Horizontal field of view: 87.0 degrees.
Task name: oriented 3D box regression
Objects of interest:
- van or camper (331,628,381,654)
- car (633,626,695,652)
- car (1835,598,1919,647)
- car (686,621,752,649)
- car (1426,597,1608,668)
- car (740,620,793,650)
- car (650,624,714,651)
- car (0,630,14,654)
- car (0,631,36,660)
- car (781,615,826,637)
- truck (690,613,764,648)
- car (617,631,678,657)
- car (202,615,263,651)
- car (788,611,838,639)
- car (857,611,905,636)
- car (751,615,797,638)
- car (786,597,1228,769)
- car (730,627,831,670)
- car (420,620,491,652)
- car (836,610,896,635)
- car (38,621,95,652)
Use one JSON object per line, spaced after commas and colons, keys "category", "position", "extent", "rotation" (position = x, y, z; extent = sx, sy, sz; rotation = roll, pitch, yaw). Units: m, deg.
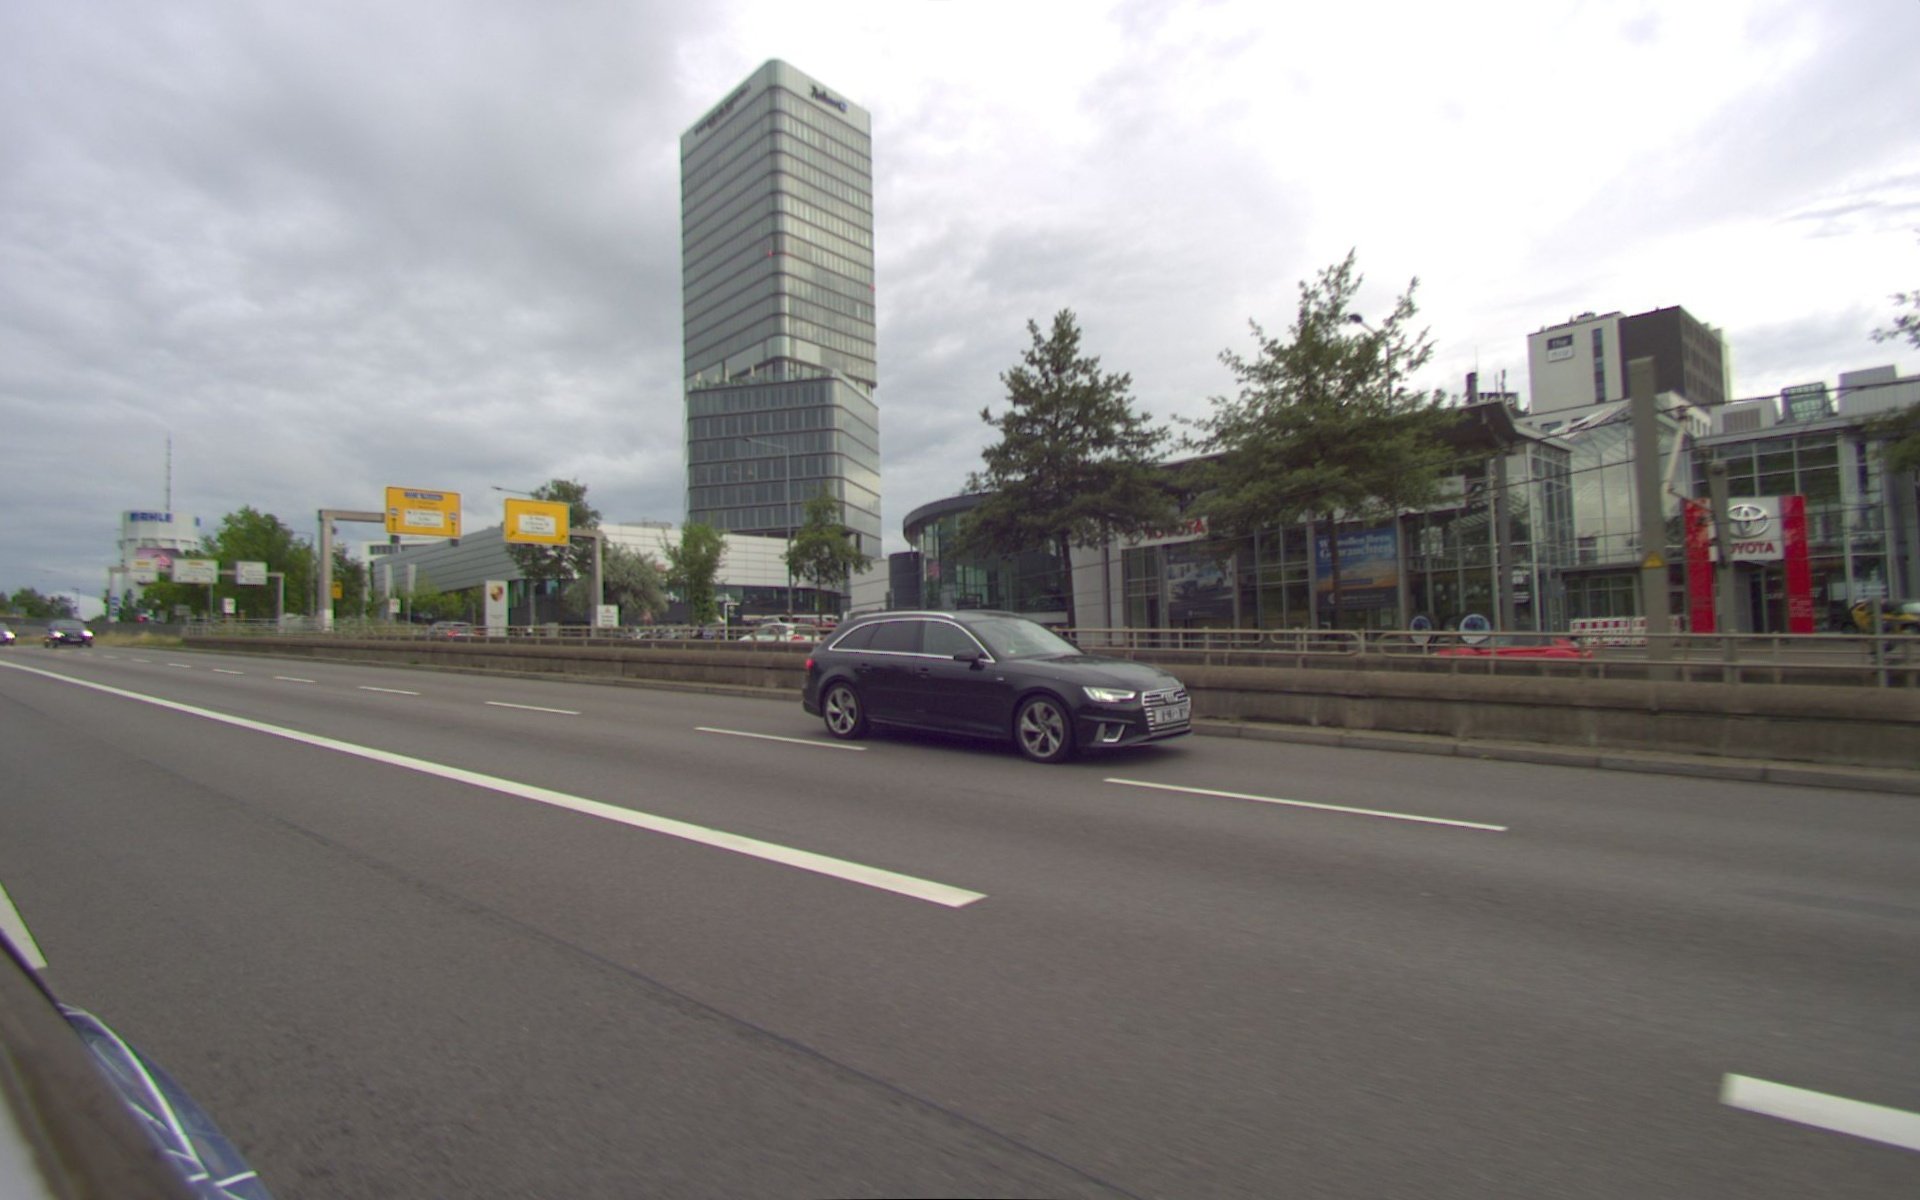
{"category": "van or camper", "position": [-44.024, 2.977, 73.767], "extent": [3.943, 1.670, 1.846], "rotation": [-5, -2, 38]}
{"category": "car", "position": [-21.820, 2.849, 74.626], "extent": [1.923, 1.696, 3.944], "rotation": [-5, -2, 42]}
{"category": "car", "position": [34.597, 0.804, 36.707], "extent": [1.971, 1.663, 4.002], "rotation": [-3, -2, -3]}
{"category": "car", "position": [-16.568, 2.413, 69.736], "extent": [1.923, 1.696, 3.944], "rotation": [-5, -2, 42]}
{"category": "car", "position": [15.338, 0.852, 27.975], "extent": [4.099, 1.791, 1.973], "rotation": [-1, 0, 40]}
{"category": "car", "position": [-12.579, 2.304, 65.536], "extent": [1.890, 1.696, 4.515], "rotation": [-2, -2, -30]}
{"category": "car", "position": [-20.021, 2.682, 73.012], "extent": [1.923, 1.696, 3.944], "rotation": [-5, -2, 42]}
{"category": "car", "position": [-67.338, 2.931, 70.381], "extent": [3.998, 1.644, 1.848], "rotation": [-1, -1, 41]}
{"category": "car", "position": [-55.136, 2.621, 58.670], "extent": [3.997, 1.644, 1.848], "rotation": [-1, -1, 40]}
{"category": "car", "position": [-13.551, 2.260, 87.532], "extent": [1.894, 1.696, 4.004], "rotation": [-2, -3, -43]}
{"category": "truck", "position": [-19.662, 2.610, 85.086], "extent": [7.412, 2.547, 2.340], "rotation": [-5, -3, 44]}
{"category": "car", "position": [-23.480, 3.304, 76.171], "extent": [1.923, 1.696, 3.944], "rotation": [-5, -2, 42]}
{"category": "car", "position": [-37.443, 1.711, 52.072], "extent": [3.545, 1.602, 1.671], "rotation": [-5, -2, 40]}
{"category": "car", "position": [-11.629, 1.986, 79.882], "extent": [1.879, 1.896, 4.004], "rotation": [-2, -3, -42]}
{"category": "car", "position": [-6.741, 1.981, 86.169], "extent": [1.970, 1.896, 4.004], "rotation": [-2, -3, -42]}
{"category": "car", "position": [-15.777, 2.216, 85.752], "extent": [1.894, 1.696, 4.004], "rotation": [-2, -3, -43]}
{"category": "car", "position": [0.304, 0.736, 10.793], "extent": [4.631, 1.430, 1.790], "rotation": [-1, 0, 43]}
{"category": "car", "position": [-7.049, 1.865, 39.525], "extent": [1.971, 1.597, 4.002], "rotation": [2, -3, -45]}
{"category": "car", "position": [-27.053, 1.897, 54.227], "extent": [3.998, 1.597, 1.973], "rotation": [-1, -2, 41]}
{"category": "car", "position": [-7.863, 1.902, 83.895], "extent": [1.970, 1.896, 5.542], "rotation": [-2, -1, -42]}
{"category": "car", "position": [-49.147, 1.992, 55.632], "extent": [3.998, 1.644, 1.848], "rotation": [-1, -1, 41]}
